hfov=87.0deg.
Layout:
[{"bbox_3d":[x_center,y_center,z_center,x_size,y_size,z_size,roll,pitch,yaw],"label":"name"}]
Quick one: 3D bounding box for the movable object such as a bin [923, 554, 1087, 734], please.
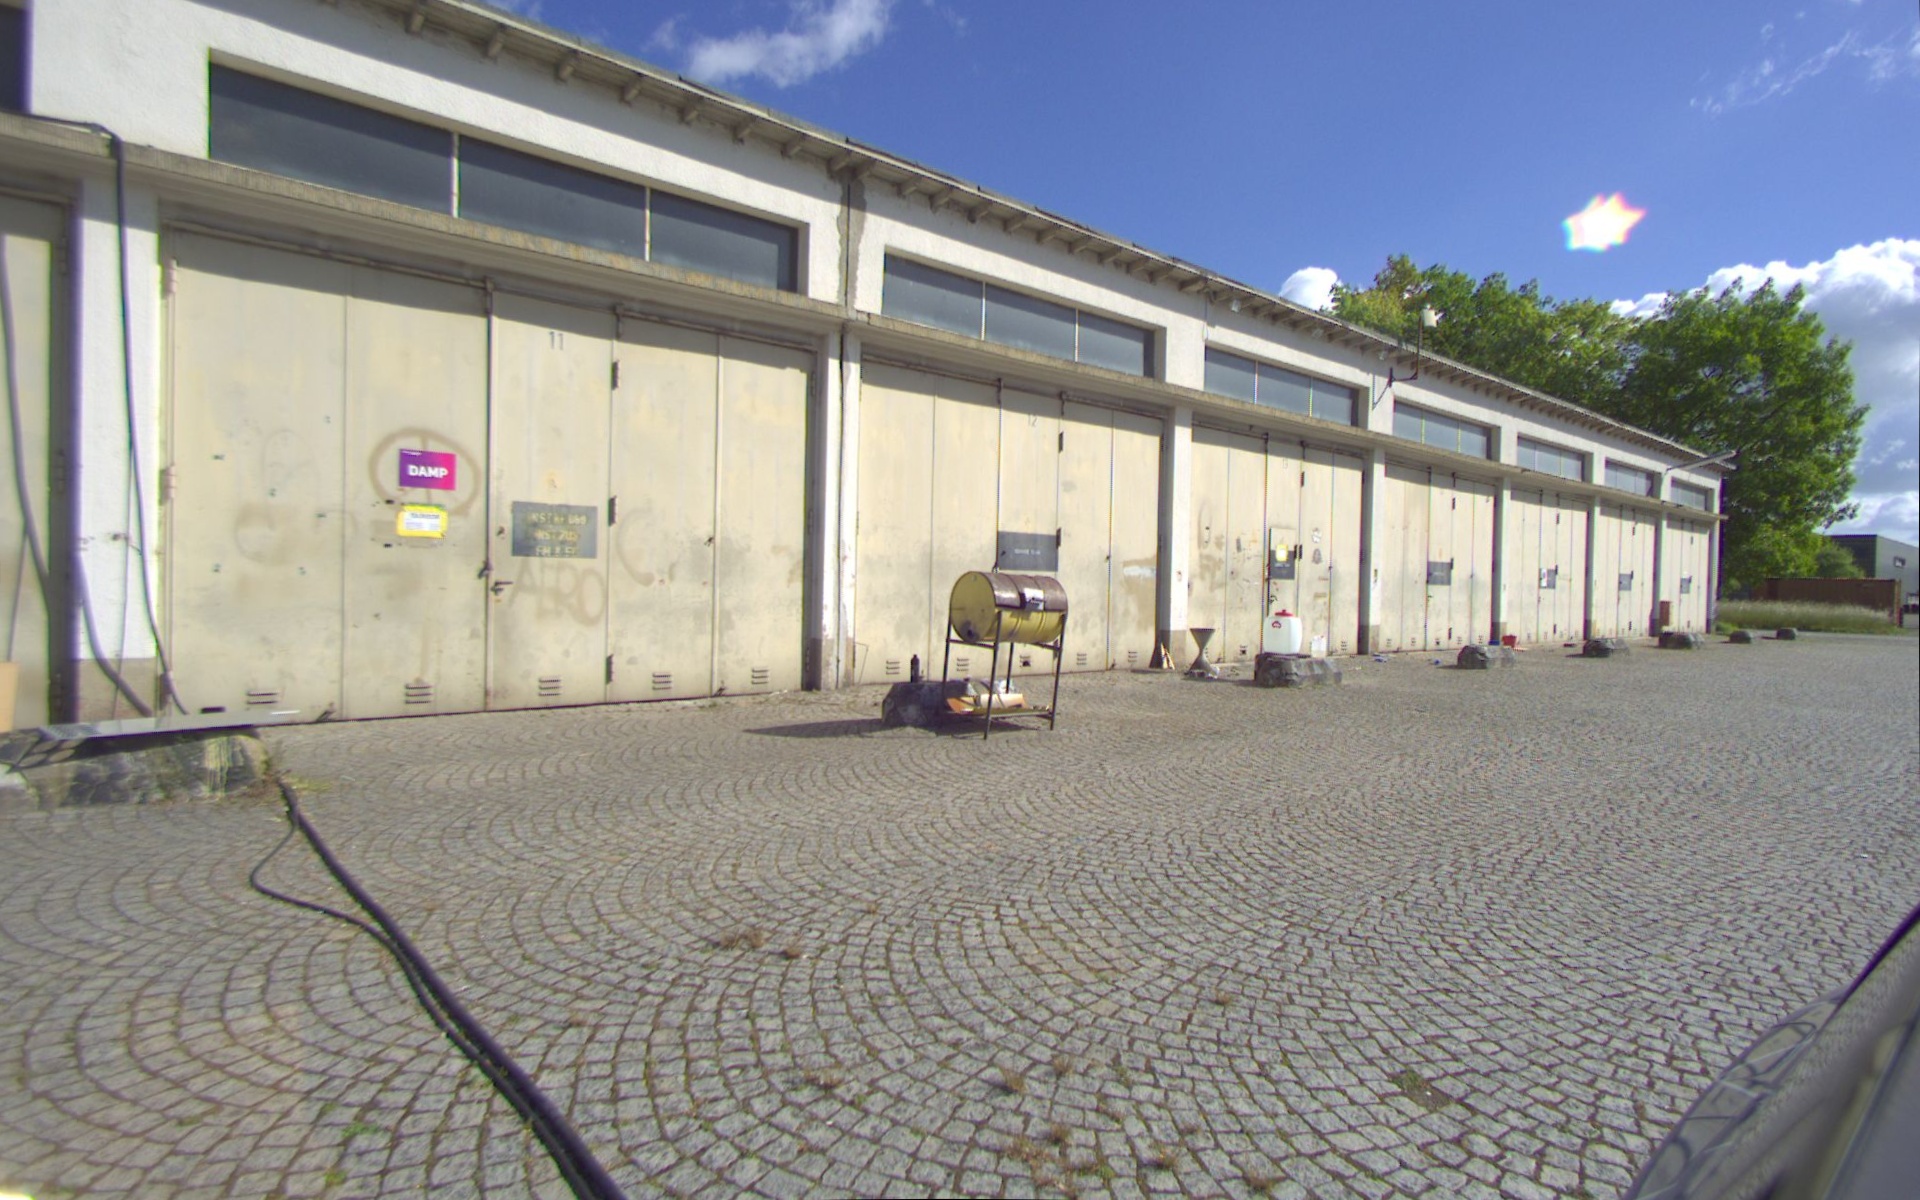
[{"bbox_3d":[0.389,0.331,8.655,1.082,1.419,0.876,0,1,-41],"label":"movable object such as a bin"}]
